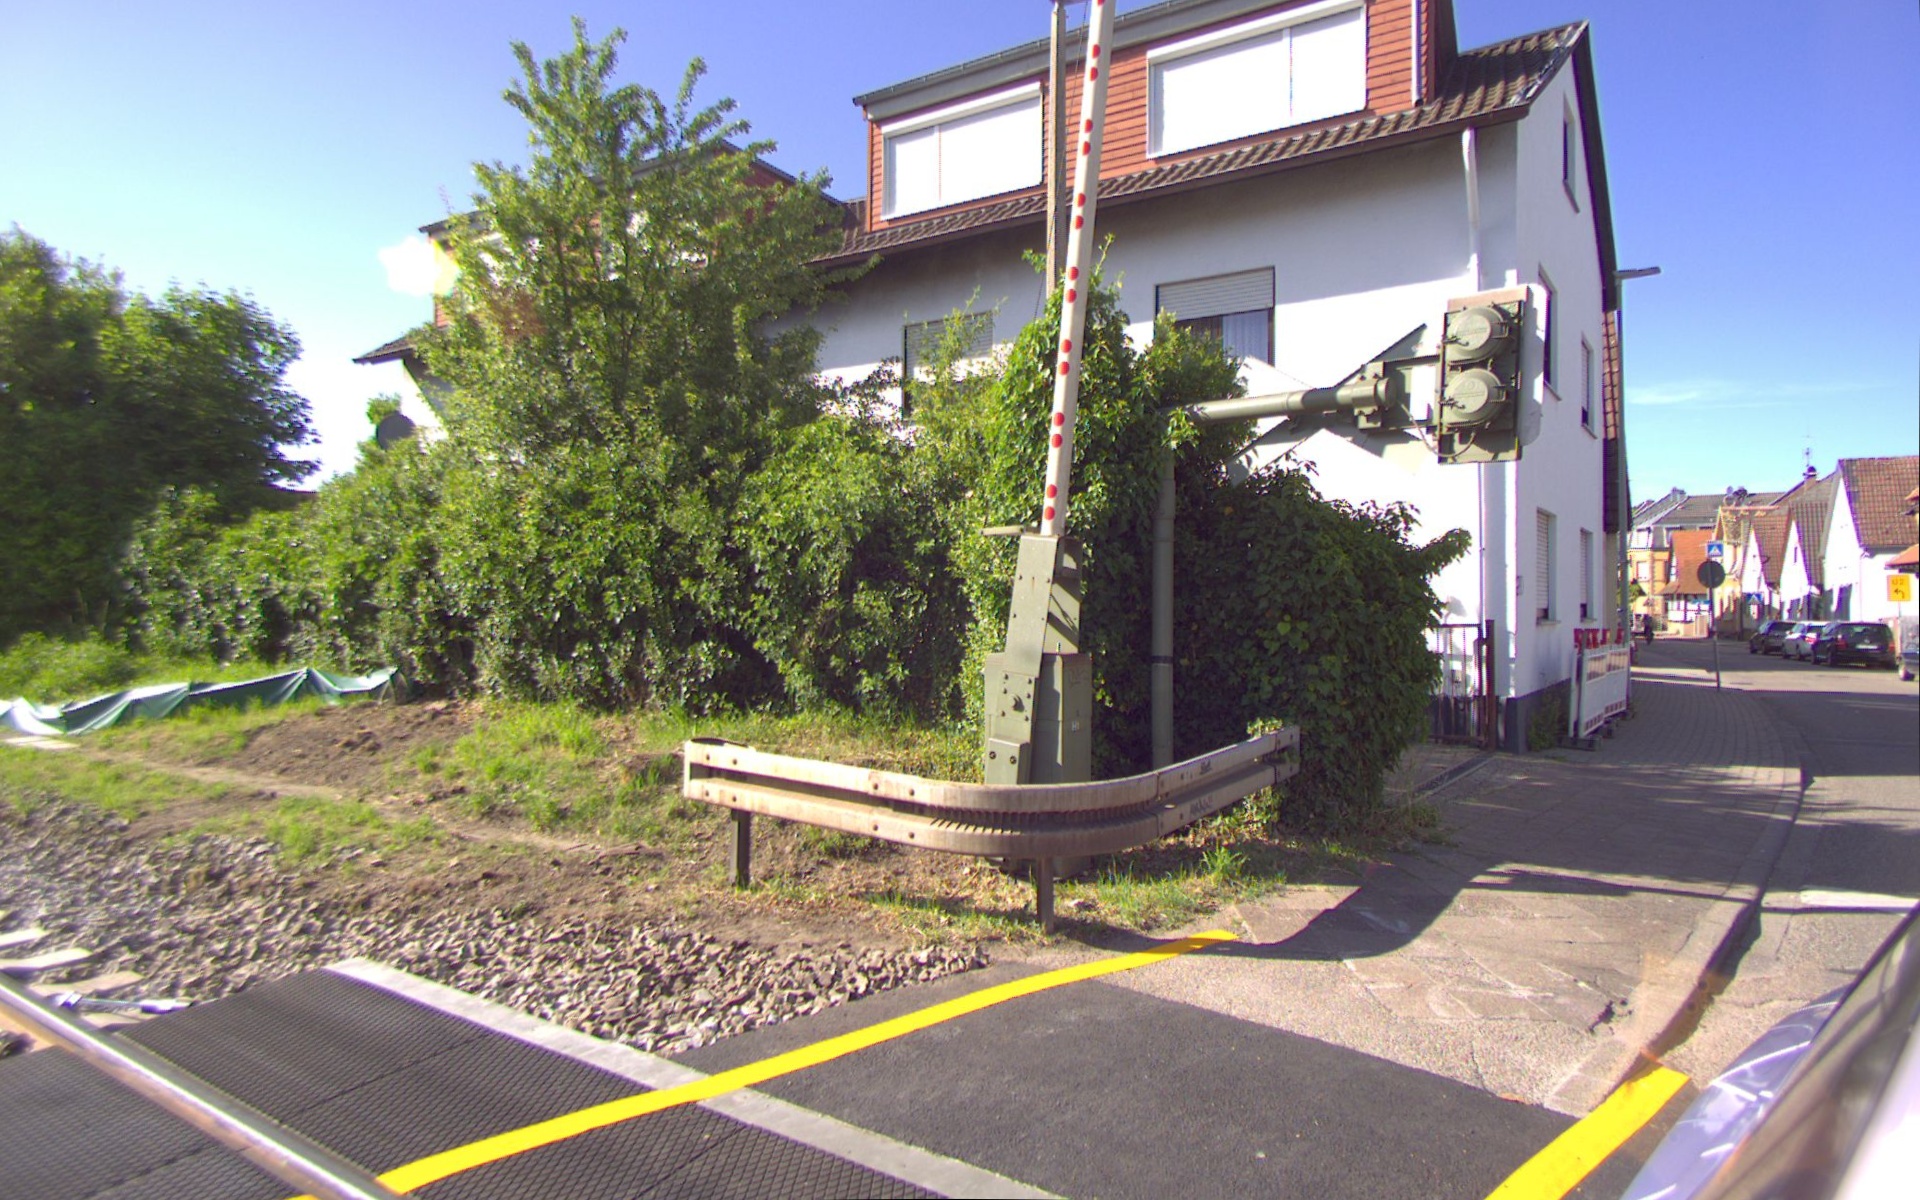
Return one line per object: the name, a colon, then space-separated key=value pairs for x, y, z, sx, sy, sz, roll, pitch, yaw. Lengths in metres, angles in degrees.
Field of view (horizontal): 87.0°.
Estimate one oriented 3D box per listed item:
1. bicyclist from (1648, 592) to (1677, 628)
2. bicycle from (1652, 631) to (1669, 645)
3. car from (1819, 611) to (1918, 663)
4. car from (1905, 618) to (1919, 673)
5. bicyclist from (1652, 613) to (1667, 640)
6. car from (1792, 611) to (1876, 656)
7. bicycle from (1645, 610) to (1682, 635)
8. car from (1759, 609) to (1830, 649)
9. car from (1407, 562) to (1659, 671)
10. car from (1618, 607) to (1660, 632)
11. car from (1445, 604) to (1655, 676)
bicyclist: x=47.420 y=0.692 z=68.314 sx=1.244 sy=2.337 sz=1.232 roll=-3 pitch=-2 yaw=24
bicycle: x=42.411 y=2.298 z=61.297 sx=0.619 sy=0.789 sz=1.893 roll=-3 pitch=-1 yaw=29
car: x=31.520 y=1.230 z=35.233 sx=1.775 sy=1.625 sz=4.312 roll=0 pitch=0 yaw=31
car: x=25.728 y=1.238 z=25.463 sx=1.836 sy=1.424 sz=4.980 roll=1 pitch=1 yaw=31
bicyclist: x=42.404 y=1.601 z=61.339 sx=0.605 sy=1.553 sz=0.648 roll=-3 pitch=-2 yaw=29
car: x=34.228 y=1.264 z=39.726 sx=1.808 sy=1.586 sz=4.121 roll=0 pitch=0 yaw=31
bicycle: x=47.450 y=1.482 z=68.293 sx=1.244 sy=1.571 sz=3.967 roll=-3 pitch=-1 yaw=24
car: x=37.516 y=1.258 z=45.579 sx=1.732 sy=1.634 sz=3.960 roll=0 pitch=0 yaw=29
car: x=15.495 y=0.348 z=27.758 sx=5.769 sy=2.688 sz=1.948 roll=2 pitch=1 yaw=29
car: x=56.676 y=1.605 z=84.539 sx=1.858 sy=1.905 sz=4.802 roll=1 pitch=0 yaw=21
car: x=14.582 y=0.925 z=25.241 sx=4.352 sy=1.505 sz=1.820 roll=2 pitch=1 yaw=31
